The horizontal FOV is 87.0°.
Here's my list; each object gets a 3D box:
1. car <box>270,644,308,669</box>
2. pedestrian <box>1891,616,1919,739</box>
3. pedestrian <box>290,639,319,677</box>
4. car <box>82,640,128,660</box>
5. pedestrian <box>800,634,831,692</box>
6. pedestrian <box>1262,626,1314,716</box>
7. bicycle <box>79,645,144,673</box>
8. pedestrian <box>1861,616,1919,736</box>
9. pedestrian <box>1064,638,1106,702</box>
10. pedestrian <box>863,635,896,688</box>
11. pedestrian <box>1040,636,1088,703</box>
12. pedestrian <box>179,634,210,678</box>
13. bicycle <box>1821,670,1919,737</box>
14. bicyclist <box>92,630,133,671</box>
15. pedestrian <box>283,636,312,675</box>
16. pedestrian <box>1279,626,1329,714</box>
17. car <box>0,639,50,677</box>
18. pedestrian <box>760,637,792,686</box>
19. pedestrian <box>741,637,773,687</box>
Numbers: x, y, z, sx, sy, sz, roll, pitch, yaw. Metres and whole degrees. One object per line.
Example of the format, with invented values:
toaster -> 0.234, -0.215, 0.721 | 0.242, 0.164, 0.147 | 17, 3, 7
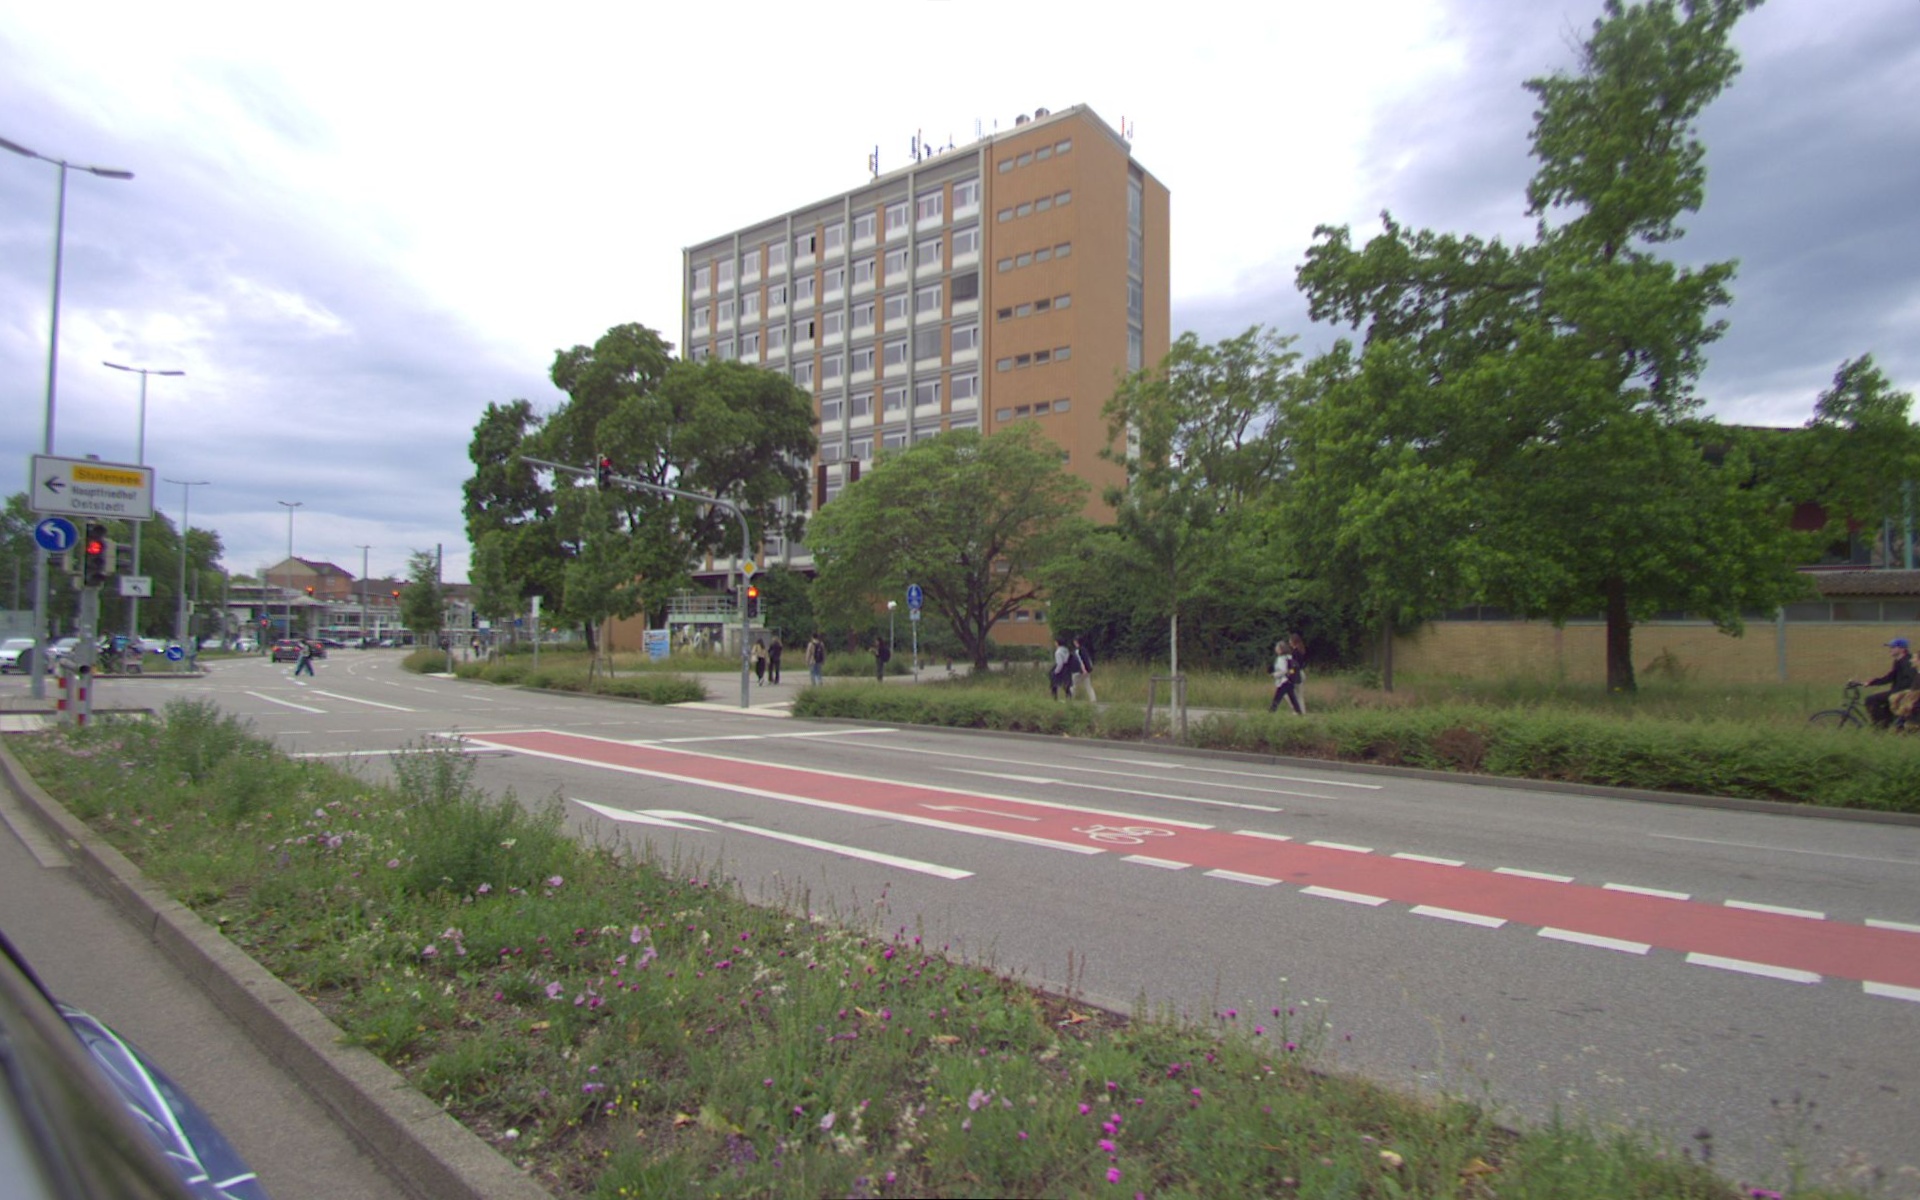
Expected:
car -> -48.023, 4.044, 72.507 | 1.785, 1.680, 3.962 | 3, -3, -27
pedestrian -> 12.886, 1.027, 13.425 | 0.567, 1.621, 0.618 | 3, -5, -33
pedestrian -> -29.497, 2.594, 45.549 | 0.705, 1.680, 0.769 | -2, -5, 32
car -> -66.770, 3.947, 79.096 | 1.789, 1.486, 4.045 | 3, -4, -27
pedestrian -> -4.538, 1.972, 31.796 | 0.762, 1.815, 0.630 | -3, -4, 44
pedestrian -> 6.380, 1.378, 19.695 | 0.614, 1.708, 0.747 | 4, -5, -41
bicycle -> -36.512, 2.535, 43.563 | 0.806, 1.151, 1.978 | -3, -5, 42
pedestrian -> 13.250, 1.061, 14.166 | 0.652, 1.644, 0.765 | 4, -5, -34
pedestrian -> 2.966, 1.656, 24.036 | 0.762, 1.491, 0.628 | -3, -5, 44
pedestrian -> -2.510, 1.921, 31.638 | 0.823, 1.625, 0.631 | -2, -2, 19
pedestrian -> 2.393, 1.597, 23.303 | 0.813, 1.491, 0.720 | -3, -5, 44
pedestrian -> -32.335, 2.357, 42.738 | 0.904, 1.818, 0.542 | 3, -5, -33
bicycle -> 13.244, 1.447, 14.140 | 0.652, 0.895, 1.719 | 4, -5, -34
bicyclist -> -36.485, 2.181, 43.557 | 0.806, 1.749, 1.175 | -3, -5, 42
pedestrian -> -31.200, 2.635, 47.661 | 0.735, 1.818, 0.763 | 0, -4, 19
pedestrian -> 6.906, 1.398, 20.339 | 0.571, 1.725, 0.763 | 4, -5, -37
car -> -38.694, 2.355, 41.658 | 1.759, 1.474, 3.876 | 1, -2, -42
pedestrian -> -6.456, 2.142, 35.483 | 0.890, 1.683, 0.698 | -3, -3, 44
pedestrian -> -7.008, 2.126, 34.926 | 0.943, 1.684, 0.698 | -3, -3, 44
